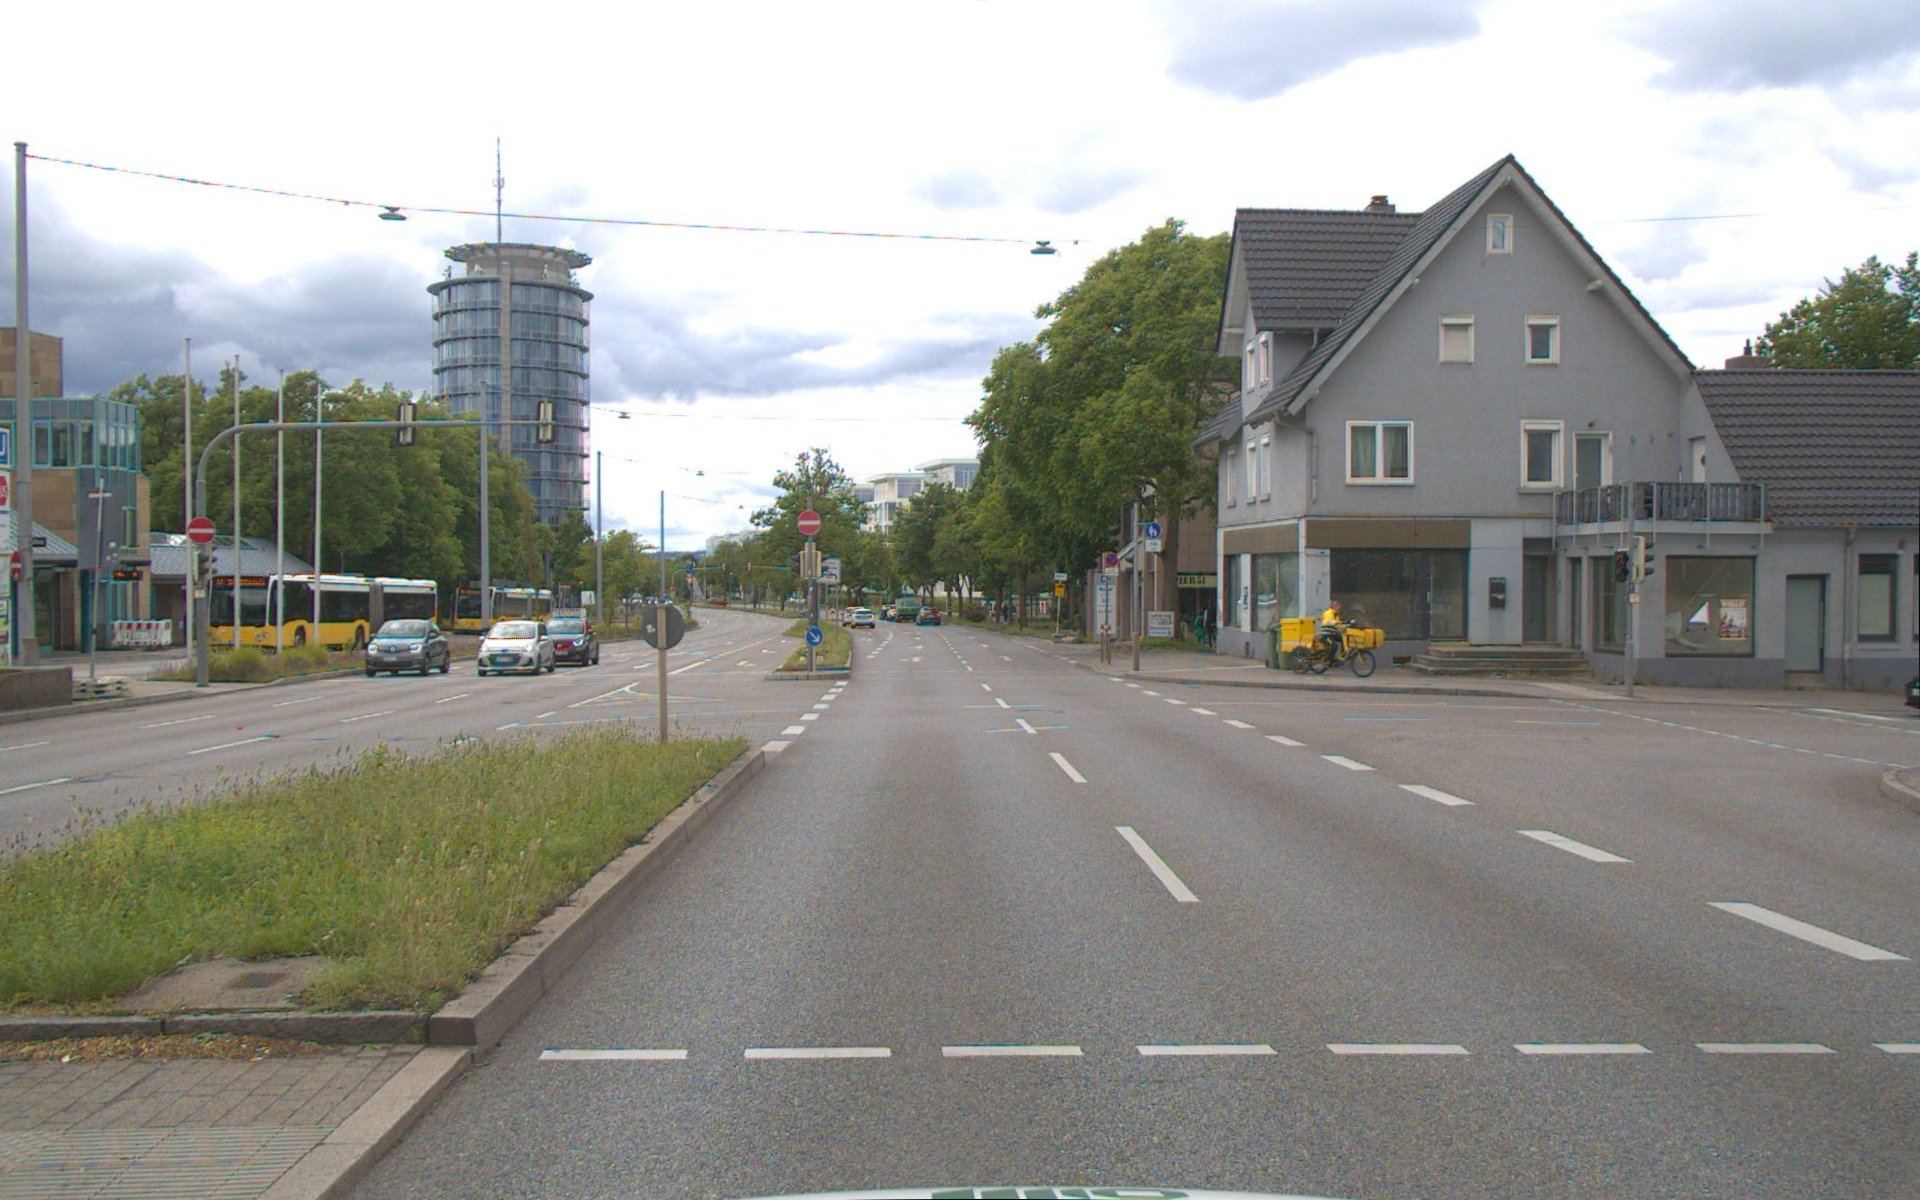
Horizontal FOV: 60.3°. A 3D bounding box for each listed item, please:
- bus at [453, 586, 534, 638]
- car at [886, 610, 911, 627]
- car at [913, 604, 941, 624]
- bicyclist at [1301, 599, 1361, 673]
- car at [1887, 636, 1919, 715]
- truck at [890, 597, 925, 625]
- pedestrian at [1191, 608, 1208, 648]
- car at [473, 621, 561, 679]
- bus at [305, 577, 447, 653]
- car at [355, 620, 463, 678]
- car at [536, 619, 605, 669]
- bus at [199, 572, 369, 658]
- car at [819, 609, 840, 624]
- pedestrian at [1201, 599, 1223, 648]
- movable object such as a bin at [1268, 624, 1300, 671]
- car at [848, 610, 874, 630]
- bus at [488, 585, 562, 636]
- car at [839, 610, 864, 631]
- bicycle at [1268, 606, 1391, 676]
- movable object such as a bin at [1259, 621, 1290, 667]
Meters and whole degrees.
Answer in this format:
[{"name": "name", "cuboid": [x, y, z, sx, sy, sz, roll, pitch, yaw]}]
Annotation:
[{"name": "bus", "cuboid": [-30.807, 0.763, 109.707, 3.023, 3.218, 10.726, 1, 0, -4]}, {"name": "car", "cuboid": [-5.969, 1.768, 160.395, 1.957, 1.534, 3.991, -1, 0, -9]}, {"name": "car", "cuboid": [-2.703, 1.144, 134.840, 1.955, 1.624, 3.996, 0, 0, -5]}, {"name": "bicyclist", "cuboid": [8.392, 0.808, 37.449, 0.948, 1.627, 0.930, 0, -1, -27]}, {"name": "car", "cuboid": [19.903, 1.447, 30.809, 4.255, 1.447, 1.907, 1, -1, -3]}, {"name": "truck", "cuboid": [-4.870, 1.052, 153.069, 2.804, 2.563, 6.279, 0, -1, -6]}, {"name": "pedestrian", "cuboid": [9.463, 1.097, 65.383, 0.550, 1.577, 0.544, -2, -1, -2]}, {"name": "car", "cuboid": [-12.367, 1.373, 46.390, 1.711, 1.491, 3.786, 0, 0, -5]}, {"name": "bus", "cuboid": [-26.736, 0.666, 76.262, 2.751, 3.187, 9.303, 2, 0, 3]}, {"name": "car", "cuboid": [-15.517, 1.356, 46.778, 1.778, 1.534, 3.999, -1, -1, -1]}, {"name": "car", "cuboid": [-12.569, 1.393, 53.523, 1.626, 1.534, 3.764, 0, -1, -5]}, {"name": "bus", "cuboid": [-27.092, 0.580, 66.905, 2.718, 3.187, 9.439, 1, 0, 1]}, {"name": "car", "cuboid": [-13.296, 1.688, 168.568, 1.953, 1.534, 3.999, -1, -1, -1]}, {"name": "pedestrian", "cuboid": [9.679, 0.900, 63.572, 0.644, 1.858, 0.842, -2, -1, -2]}, {"name": "movable object such as a bin", "cuboid": [7.797, 1.141, 39.826, 0.613, 1.123, 0.709, 0, -1, -3]}, {"name": "car", "cuboid": [-7.675, 1.568, 128.430, 1.827, 1.474, 3.995, 0, -1, -6]}, {"name": "bus", "cuboid": [-31.435, 0.772, 119.955, 2.970, 3.516, 9.907, 1, 0, -2]}, {"name": "car", "cuboid": [-9.121, 1.731, 138.493, 1.955, 1.701, 3.995, 0, -1, -6]}, {"name": "bicycle", "cuboid": [8.339, 0.916, 37.462, 0.955, 1.535, 2.642, 0, -1, -43]}, {"name": "movable object such as a bin", "cuboid": [7.736, 1.069, 40.667, 0.596, 1.123, 0.709, 0, -1, -3]}]
